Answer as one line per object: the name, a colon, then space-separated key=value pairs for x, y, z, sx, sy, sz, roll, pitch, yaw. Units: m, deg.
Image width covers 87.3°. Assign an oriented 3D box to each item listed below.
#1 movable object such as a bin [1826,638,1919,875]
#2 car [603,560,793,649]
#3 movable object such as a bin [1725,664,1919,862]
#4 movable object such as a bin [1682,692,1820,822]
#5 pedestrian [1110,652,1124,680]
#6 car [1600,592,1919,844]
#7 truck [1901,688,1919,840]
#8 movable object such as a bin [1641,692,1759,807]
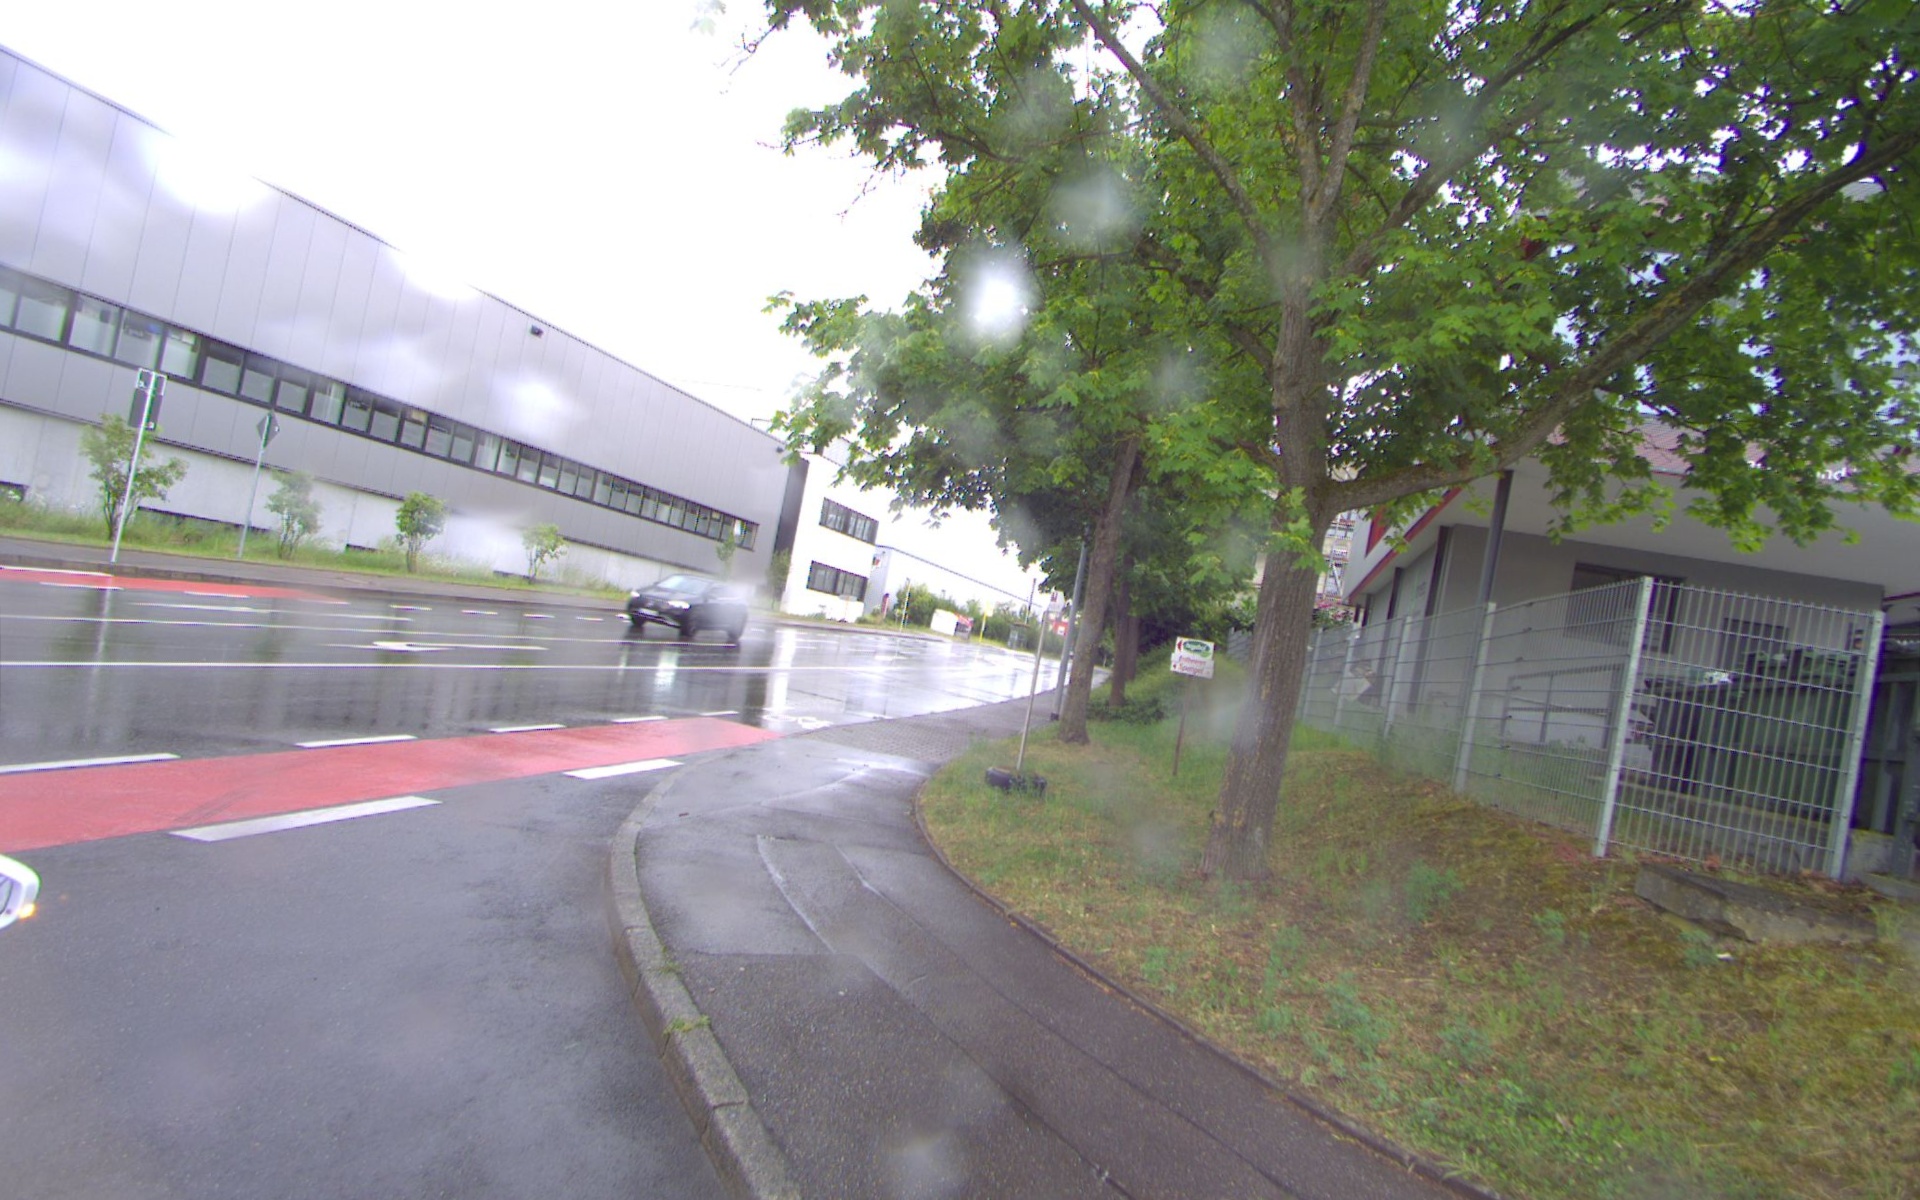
movable object such as a bin: x=5.279 y=0.839 z=4.959 sx=1.007 sy=1.175 sz=1.144 roll=8 pitch=-1 yaw=14
car: x=-7.403 y=0.266 z=29.591 sx=2.317 sy=1.836 sz=6.887 roll=9 pitch=-2 yaw=13
movable object such as a bin: x=5.577 y=0.995 z=6.256 sx=0.867 sy=1.054 sz=1.054 roll=8 pitch=-1 yaw=16
movable object such as a bin: x=5.789 y=1.133 z=7.394 sx=0.529 sy=0.827 sz=0.567 roll=8 pitch=-1 yaw=14
pedestrian: x=11.496 y=4.834 z=73.650 sx=0.764 sy=1.928 sz=0.730 roll=8 pitch=-2 yaw=12
car: x=9.571 y=1.338 z=9.966 sx=4.844 sy=2.037 sz=2.066 roll=8 pitch=-1 yaw=13
truck: x=10.099 y=1.048 z=6.874 sx=4.745 sy=2.369 sz=2.253 roll=8 pitch=-1 yaw=8
movable object such as a bin: x=5.985 y=1.193 z=8.166 sx=0.529 sy=0.811 sz=0.523 roll=8 pitch=-1 yaw=14
